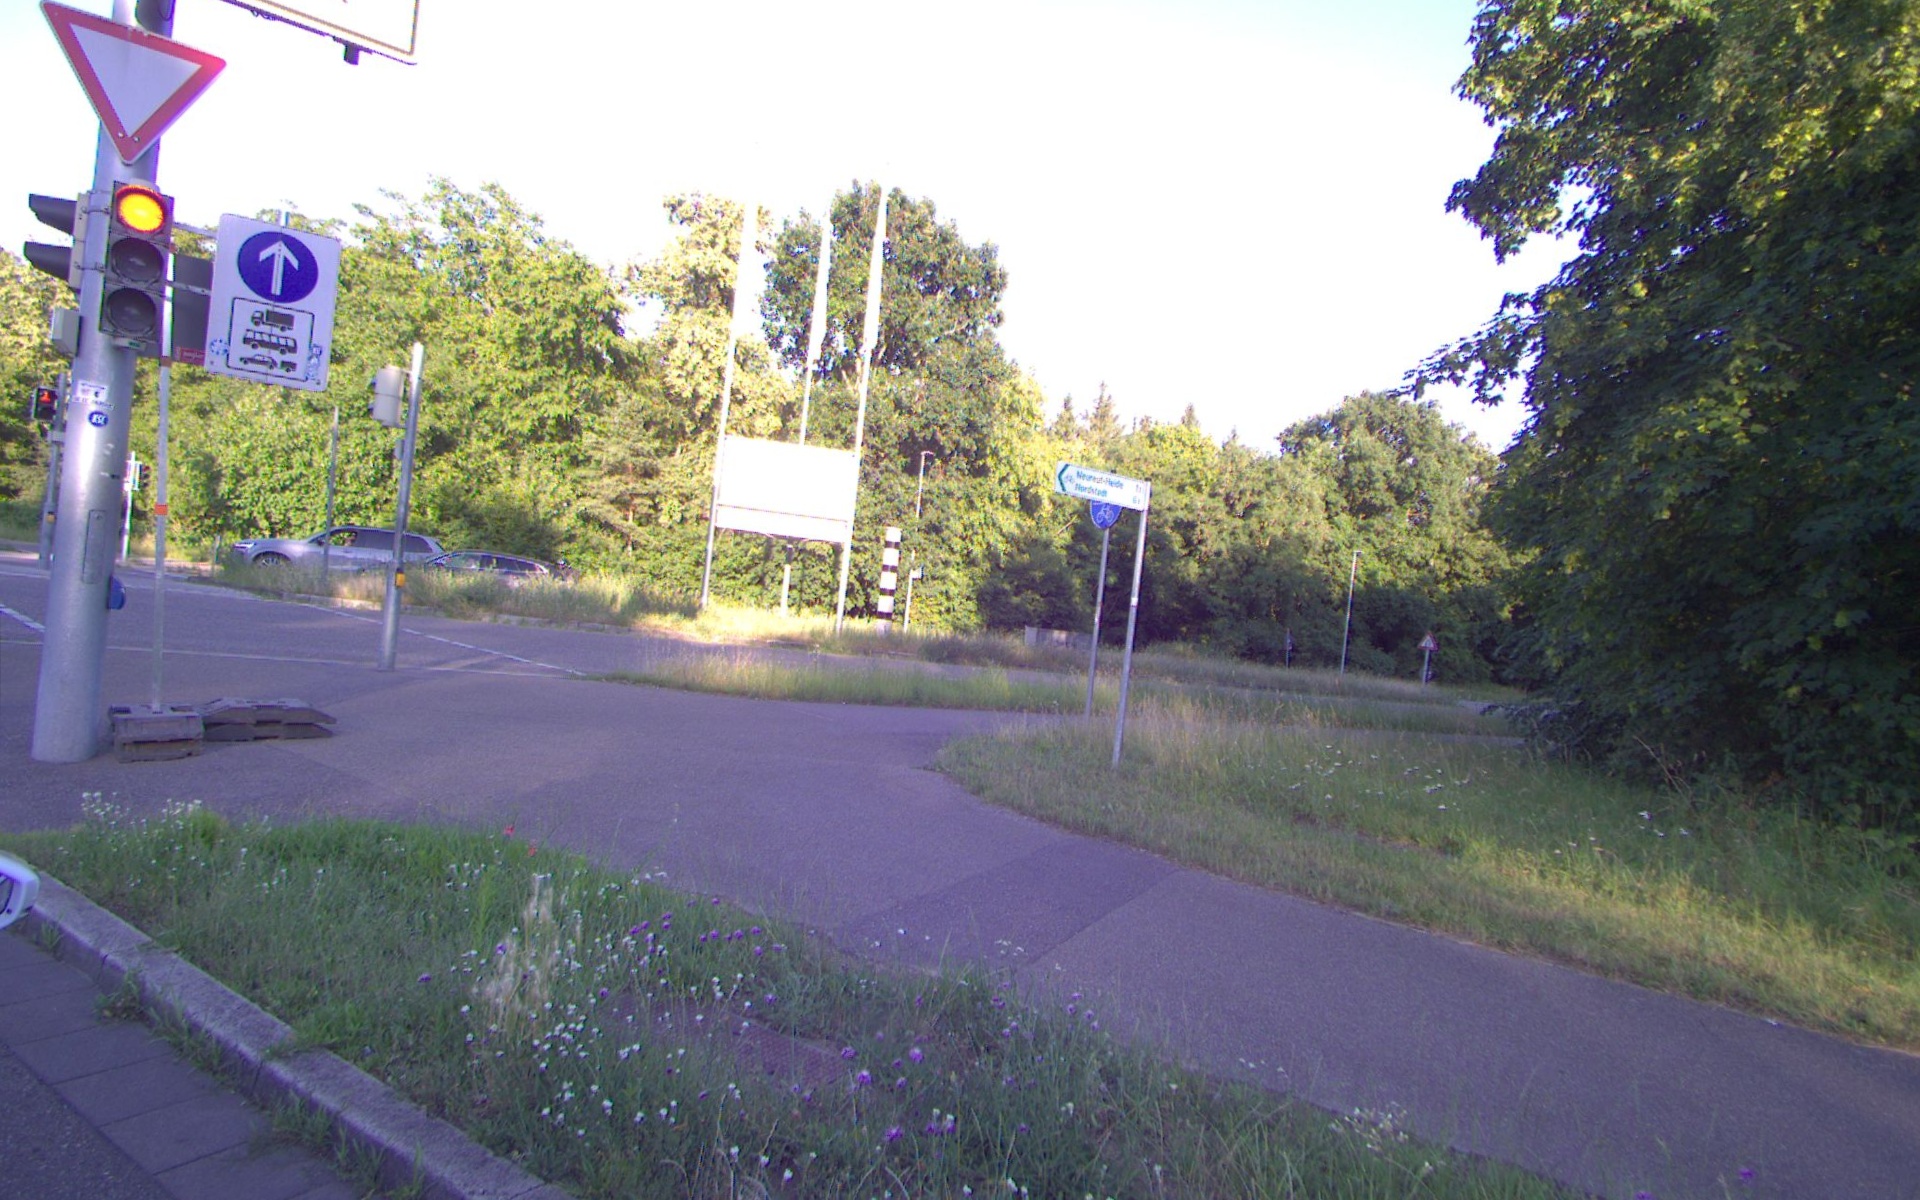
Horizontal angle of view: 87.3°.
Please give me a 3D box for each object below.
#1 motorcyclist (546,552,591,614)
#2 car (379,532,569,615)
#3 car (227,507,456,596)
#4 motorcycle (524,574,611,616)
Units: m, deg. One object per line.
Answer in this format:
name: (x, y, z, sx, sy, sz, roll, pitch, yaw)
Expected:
motorcyclist: (-11.027, -0.482, 28.319, 0.881, 1.614, 0.648, 6, 0, -37)
car: (-11.800, -0.626, 24.516, 3.840, 1.507, 1.754, 7, -1, -36)
car: (-15.923, -1.210, 26.003, 4.790, 1.618, 1.980, 7, 0, -37)
motorcycle: (-11.048, -0.139, 28.343, 2.133, 0.921, 0.655, 7, 0, -37)
